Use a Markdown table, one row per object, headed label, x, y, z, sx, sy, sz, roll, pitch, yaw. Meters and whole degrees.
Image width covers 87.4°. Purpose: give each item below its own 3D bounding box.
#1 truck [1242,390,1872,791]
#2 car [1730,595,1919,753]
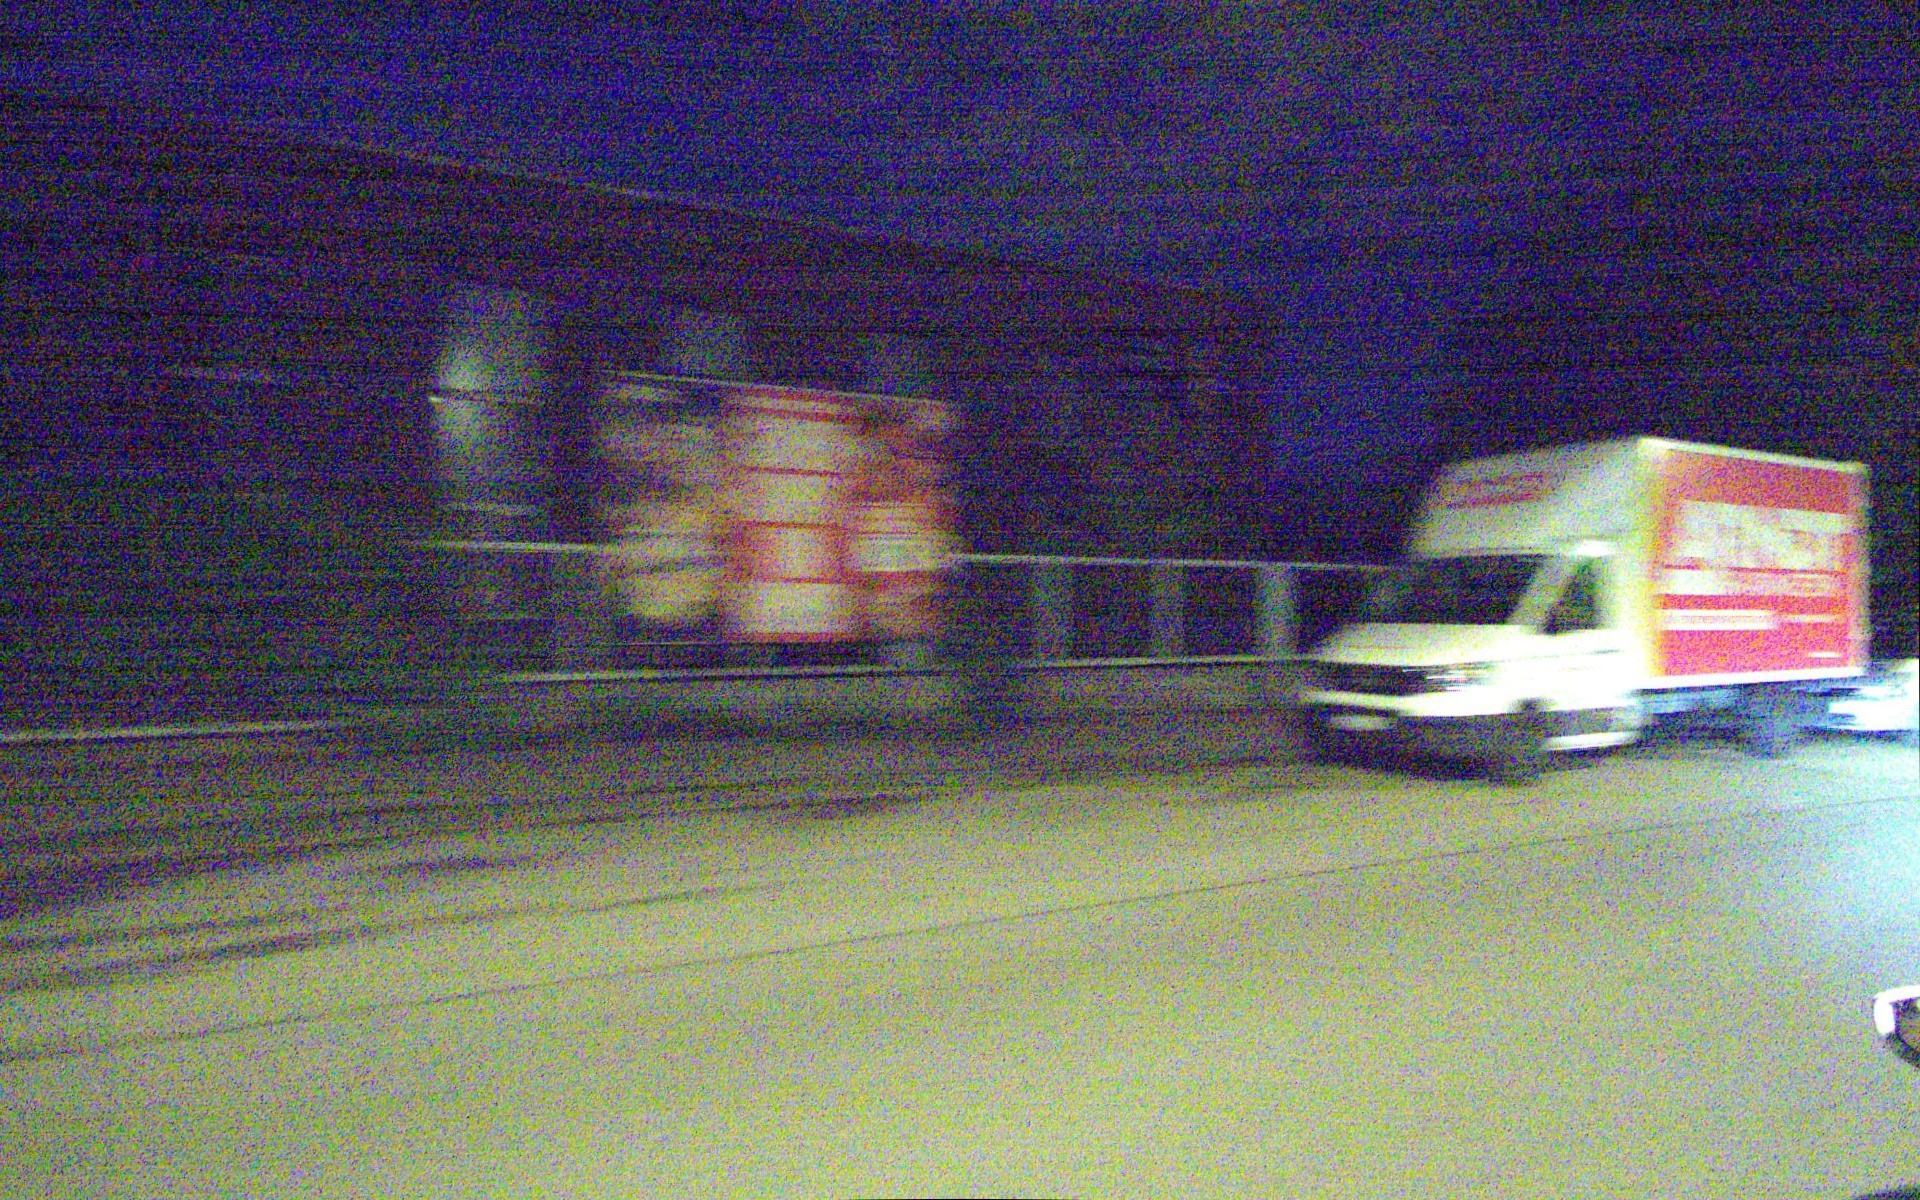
| label | x | y | z | sx | sy | sz | roll | pitch | yaw |
| --- | --- | --- | --- | --- | --- | --- | --- | --- | --- |
| truck | 6.758 | -0.010 | 11.112 | 7.217 | 3.324 | 2.535 | 1 | -1 | -27 |
| car | 12.740 | 0.914 | 13.538 | 4.774 | 1.840 | 1.823 | 1 | -1 | -26 |
